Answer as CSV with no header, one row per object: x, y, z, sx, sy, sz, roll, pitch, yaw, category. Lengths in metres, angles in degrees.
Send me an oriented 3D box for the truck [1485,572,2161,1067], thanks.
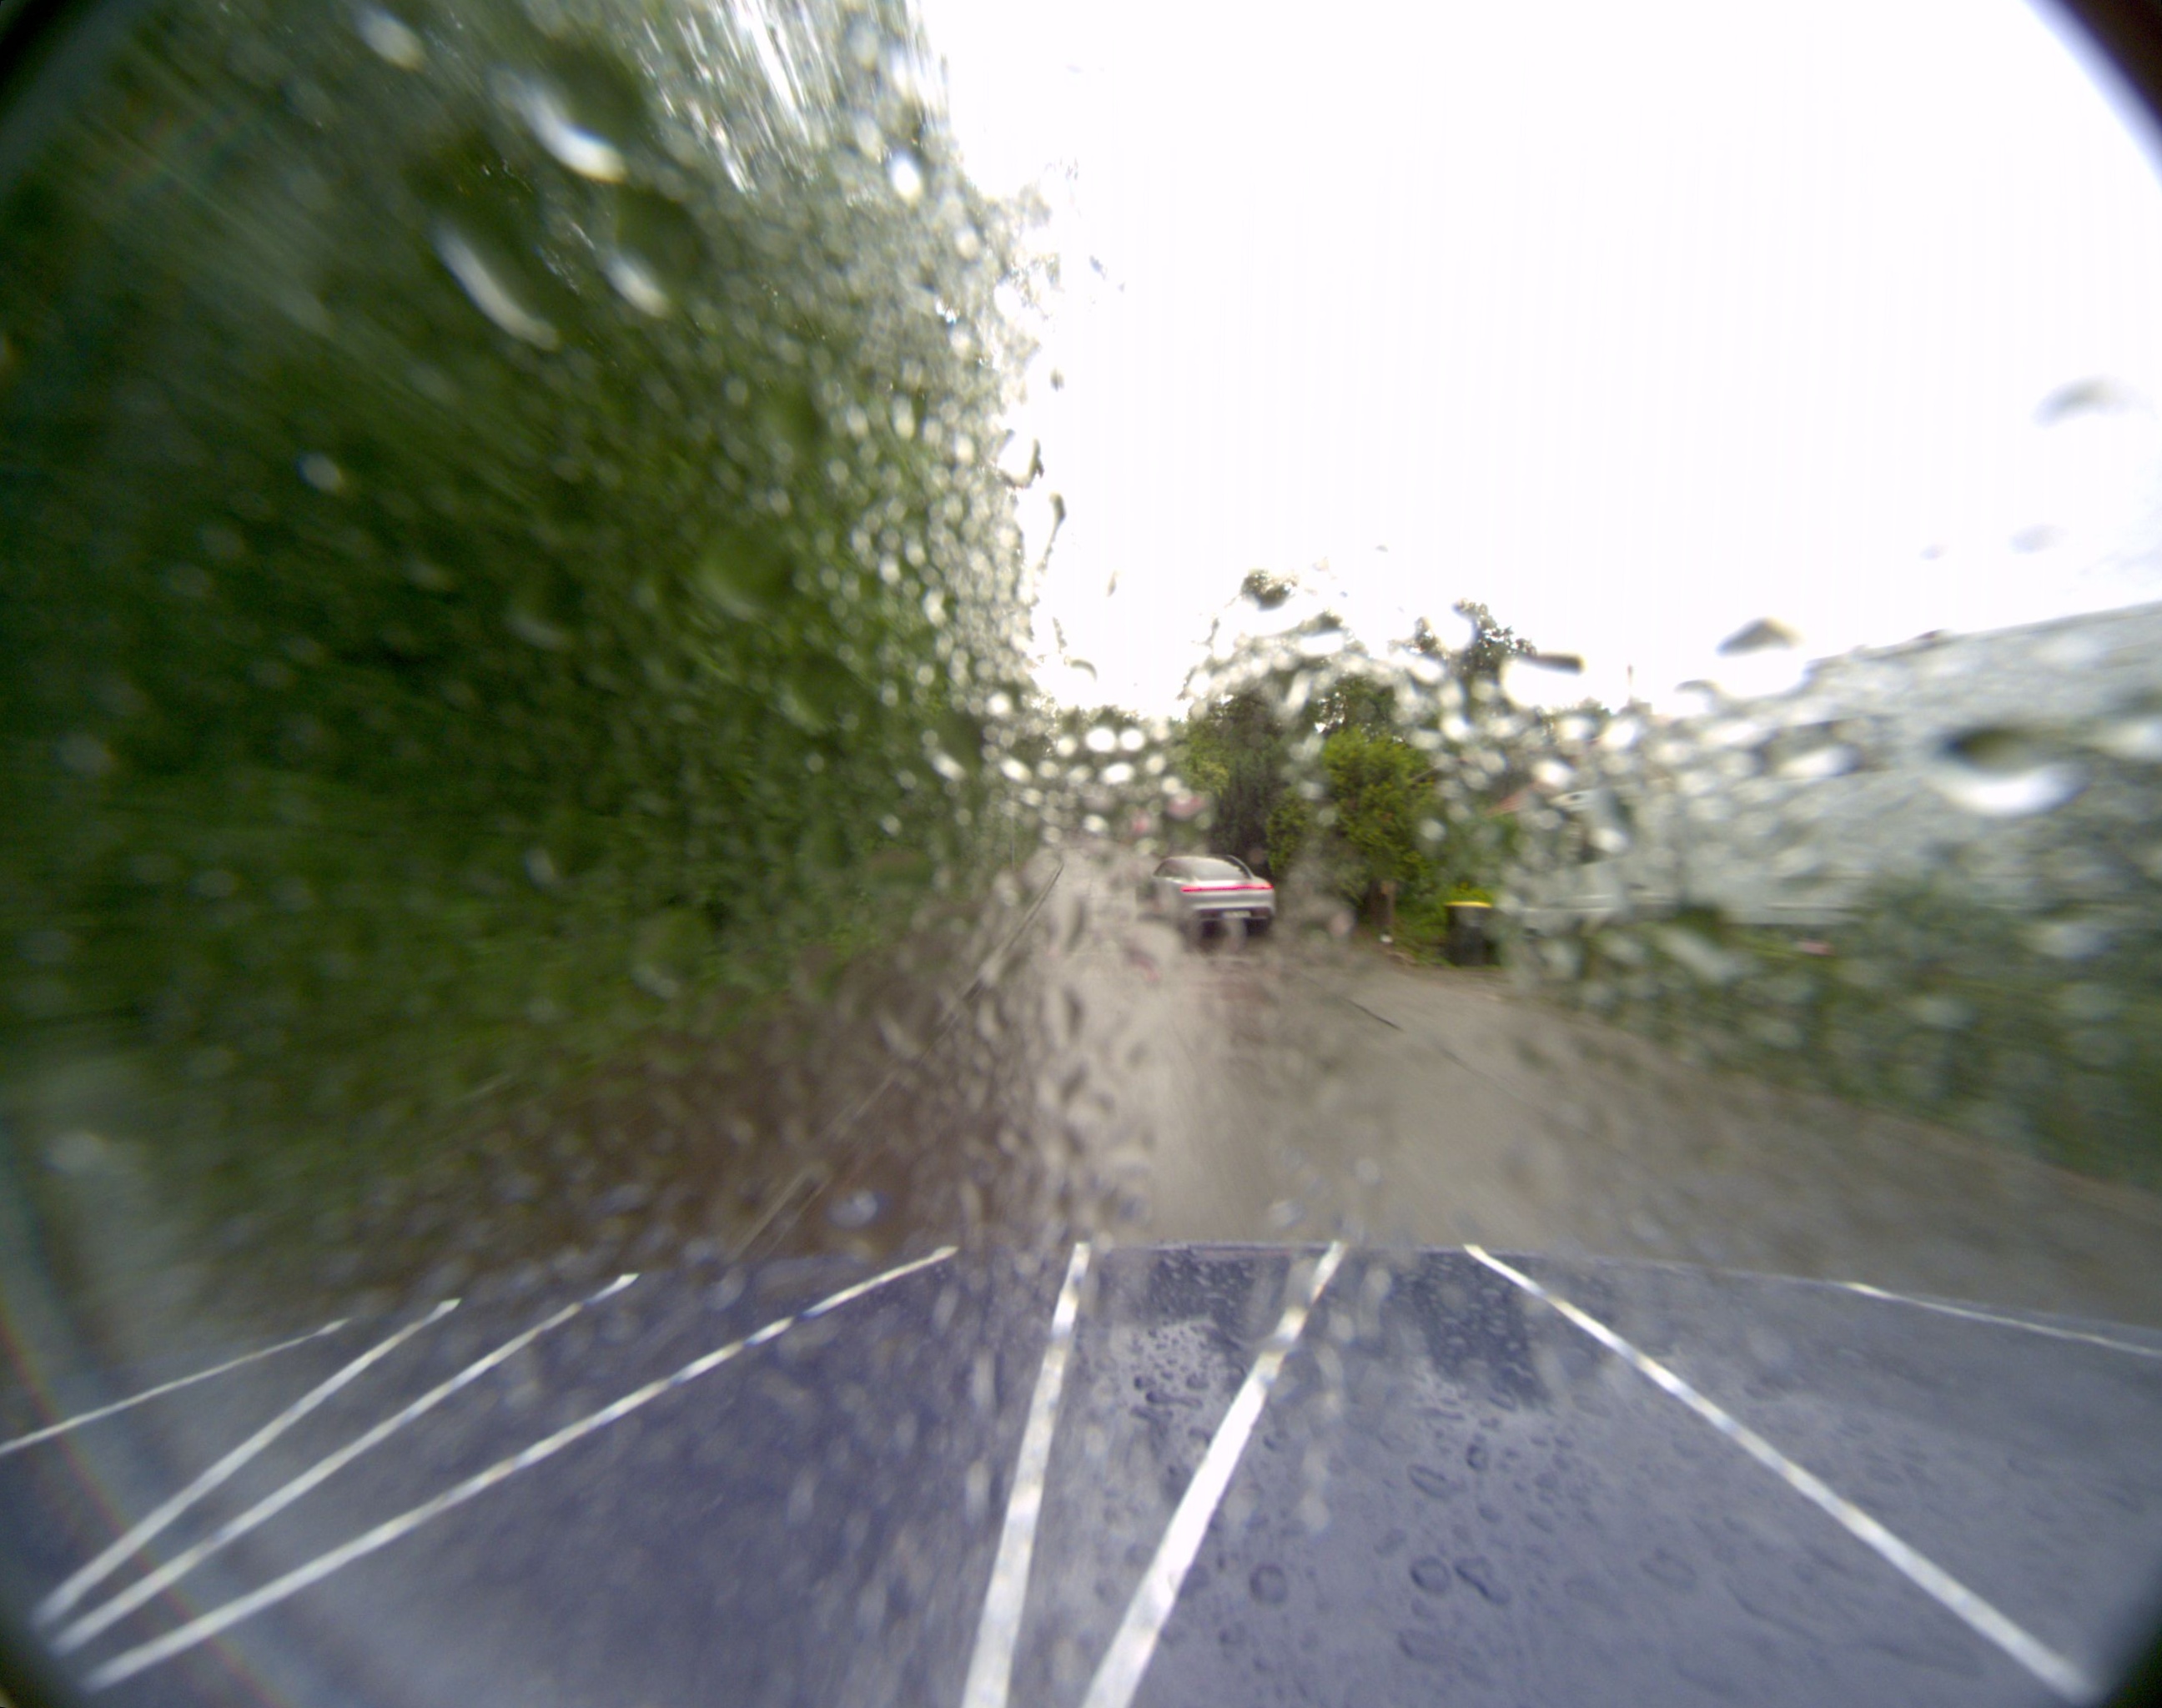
8.803,-0.277,7.211,2.678,3.788,8.112,-5,0,-43,truck

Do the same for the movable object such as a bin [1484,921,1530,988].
6.916,1.618,12.346,0.541,1.039,0.360,0,-2,9,movable object such as a bin

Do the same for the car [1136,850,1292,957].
2.463,0.850,15.376,1.947,1.514,4.573,0,5,-5,car

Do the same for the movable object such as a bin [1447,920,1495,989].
6.366,1.628,12.429,0.541,1.060,0.548,0,-2,9,movable object such as a bin
